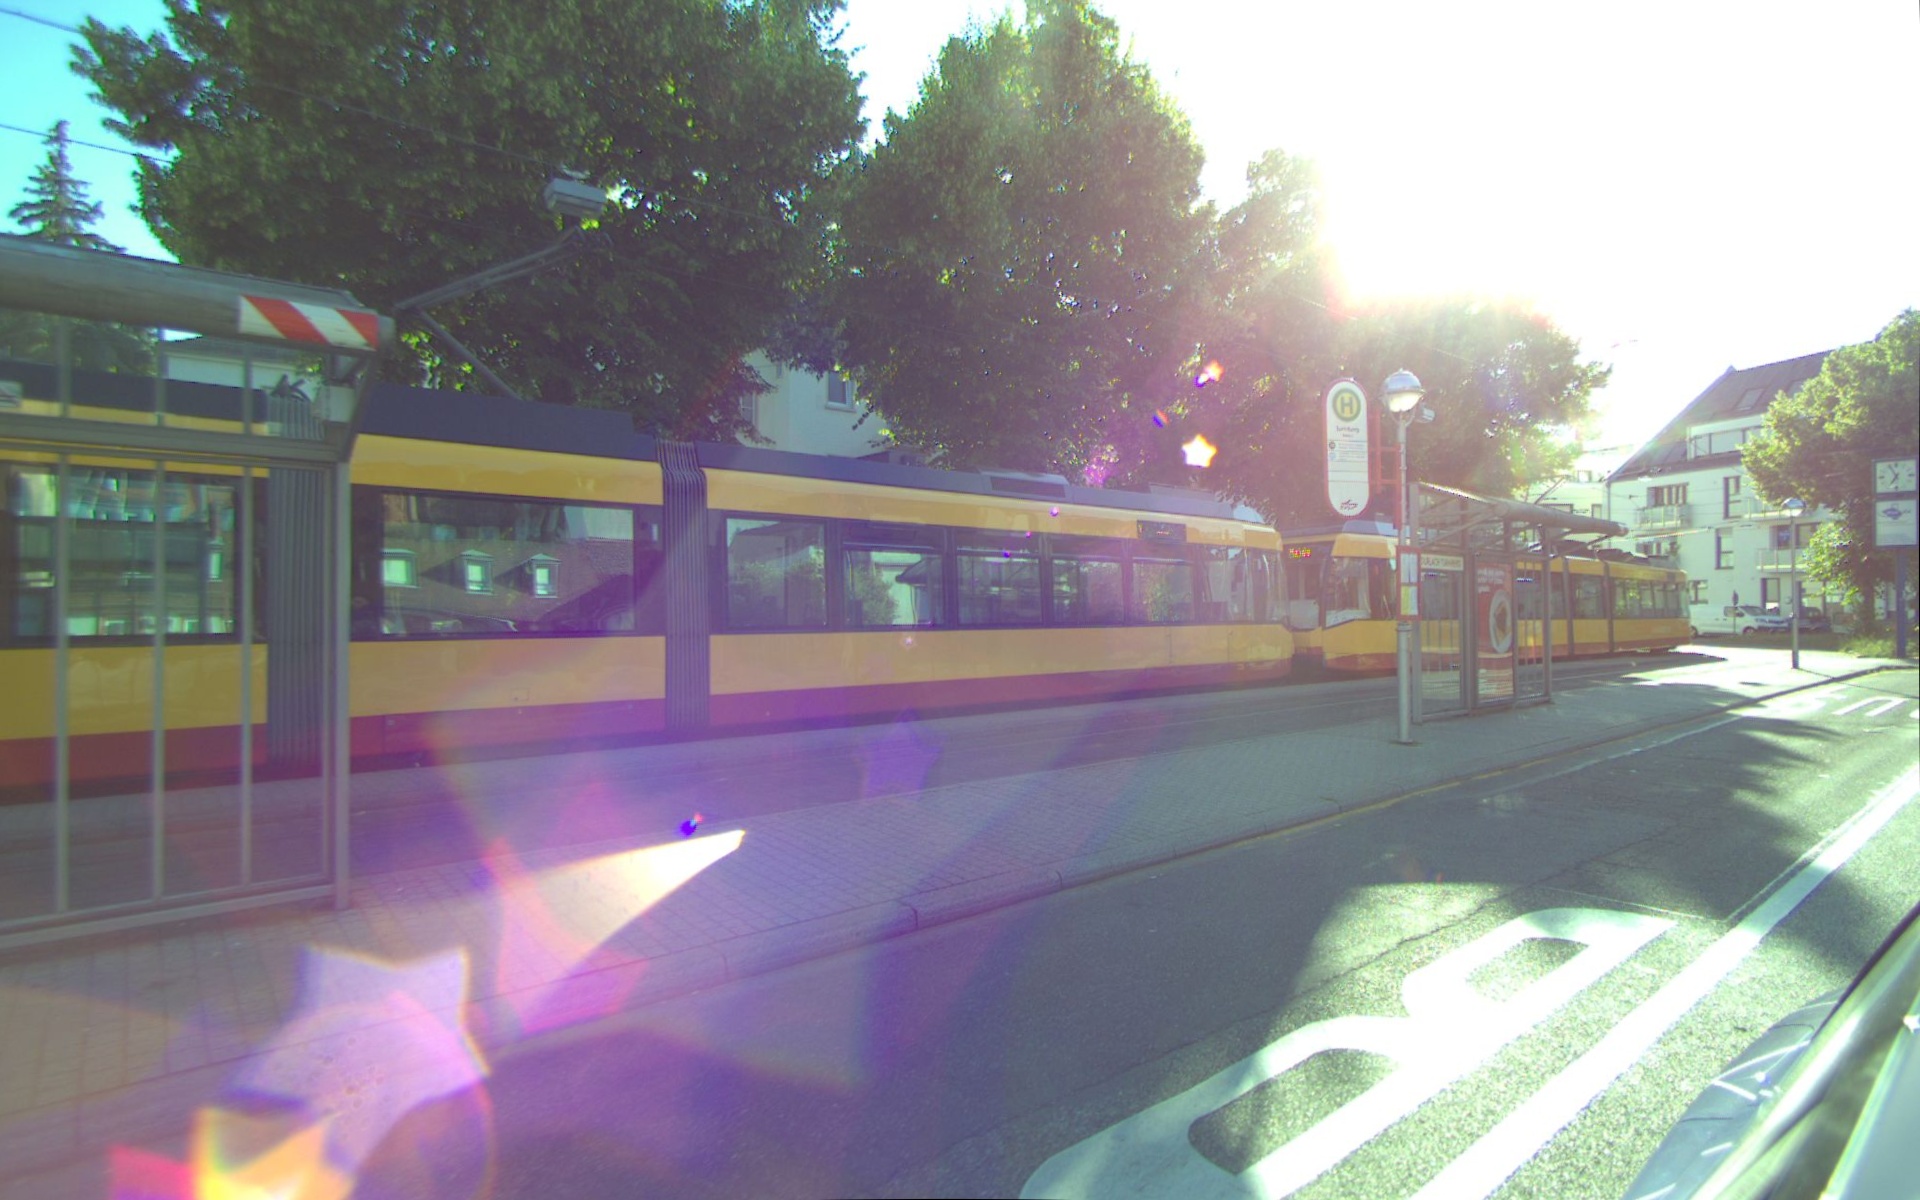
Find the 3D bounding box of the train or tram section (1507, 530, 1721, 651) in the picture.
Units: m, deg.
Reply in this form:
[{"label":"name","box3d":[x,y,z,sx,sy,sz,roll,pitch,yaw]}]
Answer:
[{"label":"train or tram section","box3d":[22.753,-0.240,34.647,13.234,3.465,2.961,1,0,-43]}]

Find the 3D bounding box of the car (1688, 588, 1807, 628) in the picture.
[{"label":"car","box3d":[41.581,0.463,53.601,1.833,1.958,4.799,0,-2,-13]}]

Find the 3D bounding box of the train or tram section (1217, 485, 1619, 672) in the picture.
[{"label":"train or tram section","box3d":[12.137,-0.349,25.017,15.663,3.465,2.962,1,0,-42]}]

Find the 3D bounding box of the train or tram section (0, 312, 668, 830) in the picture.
[{"label":"train or tram section","box3d":[-9.834,-0.174,6.191,15.690,3.578,2.962,-1,1,-41]}]

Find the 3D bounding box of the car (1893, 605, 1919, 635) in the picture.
[{"label":"car","box3d":[48.057,0.930,48.921,1.574,1.481,4.211,0,-2,-9]}]

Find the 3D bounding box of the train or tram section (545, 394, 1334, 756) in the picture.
[{"label":"train or tram section","box3d":[0.929,-0.350,15.465,13.228,3.578,2.962,-1,1,-41]}]

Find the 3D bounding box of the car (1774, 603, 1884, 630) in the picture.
[{"label":"car","box3d":[46.582,0.880,54.355,1.895,1.364,4.133,0,-1,-13]}]
